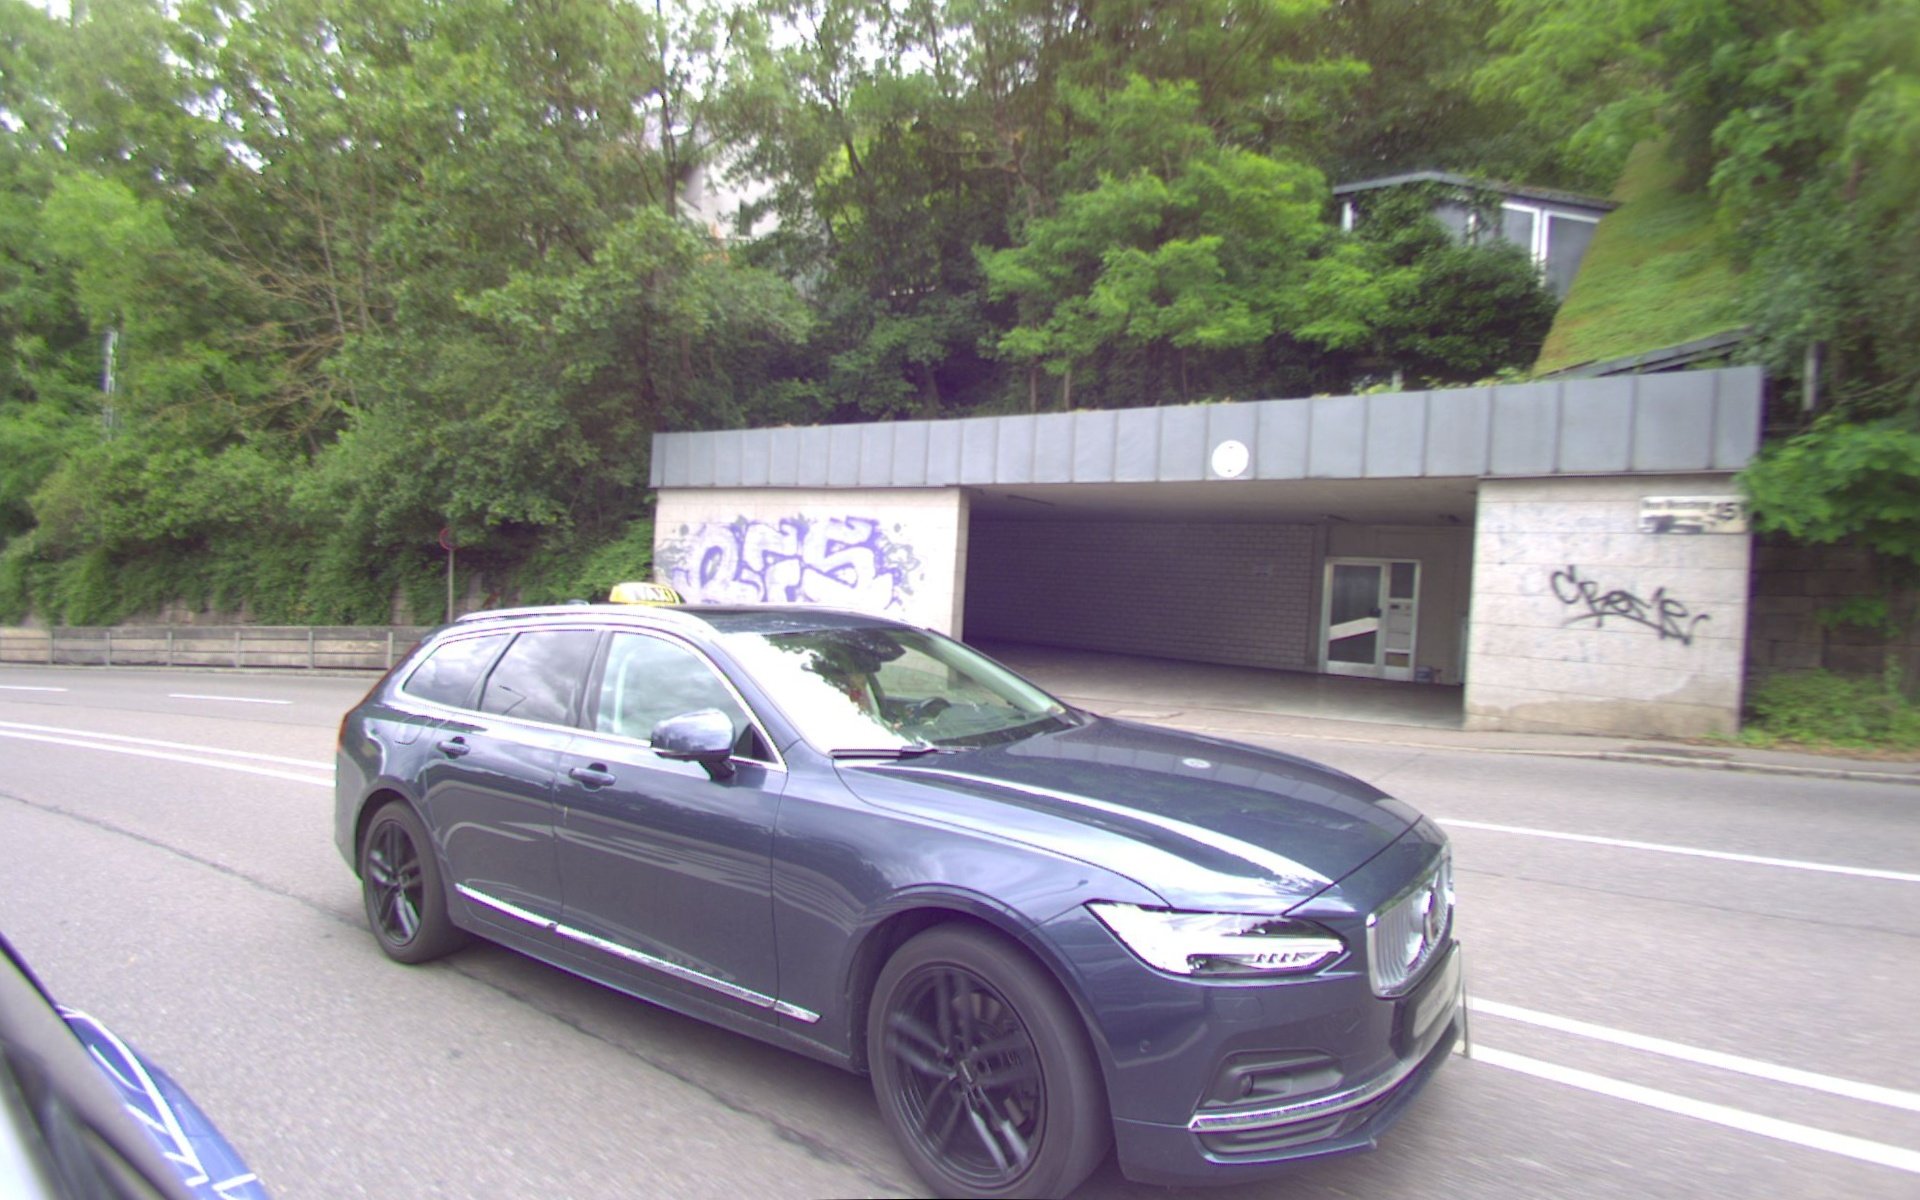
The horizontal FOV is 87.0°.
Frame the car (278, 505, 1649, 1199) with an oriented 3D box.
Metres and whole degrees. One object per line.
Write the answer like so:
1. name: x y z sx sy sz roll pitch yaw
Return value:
1. car: -0.547 0.636 3.769 5.022 1.588 1.916 0 1 39
